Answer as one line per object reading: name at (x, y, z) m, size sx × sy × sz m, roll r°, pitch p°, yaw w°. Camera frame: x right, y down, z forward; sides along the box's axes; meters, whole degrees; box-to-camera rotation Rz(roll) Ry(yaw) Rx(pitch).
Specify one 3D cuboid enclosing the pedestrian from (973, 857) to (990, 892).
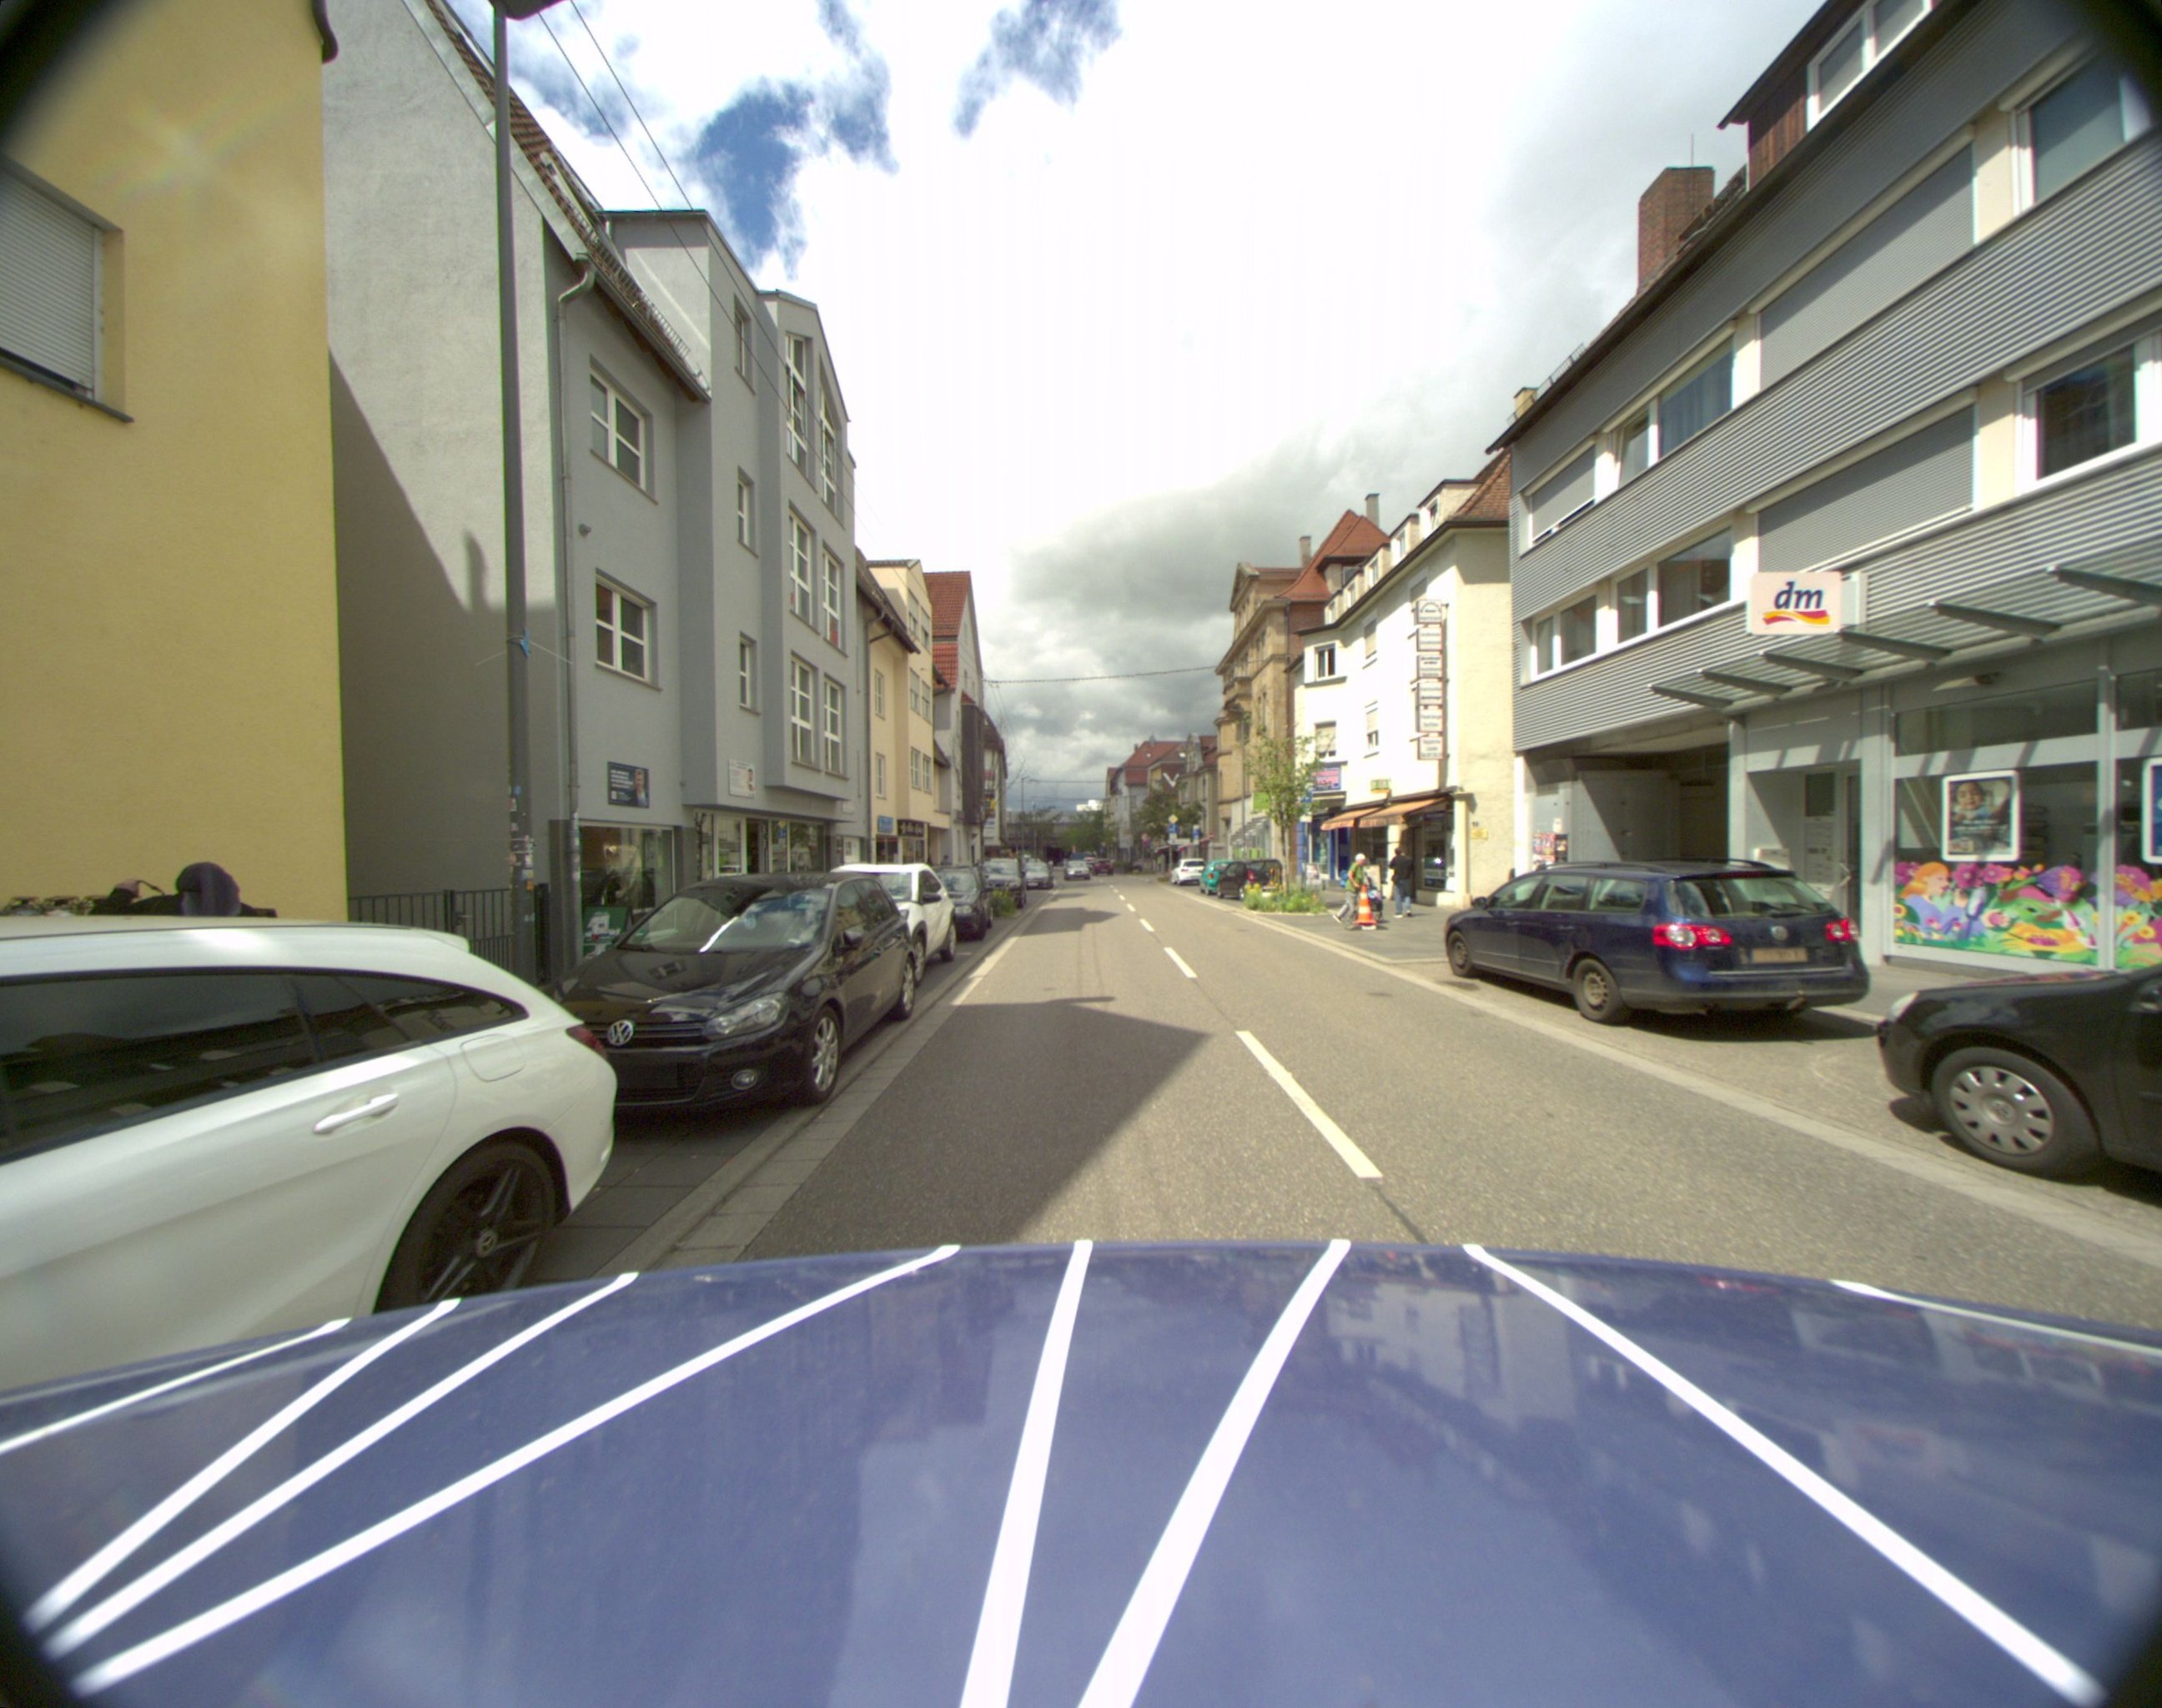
pedestrian at (-4.966, 1.016, 37.957) m, size 0.745 × 1.708 × 0.655 m, roll -1°, pitch 1°, yaw -1°

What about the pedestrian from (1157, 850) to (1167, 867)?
pedestrian at (8.409, 0.431, 78.866) m, size 0.801 × 1.746 × 0.812 m, roll -3°, pitch 1°, yaw -9°

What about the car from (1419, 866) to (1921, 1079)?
car at (5.578, 0.953, 8.201) m, size 1.794 × 1.504 × 4.713 m, roll -2°, pitch 0°, yaw 1°

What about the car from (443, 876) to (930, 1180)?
car at (-2.502, 0.966, 6.222) m, size 1.694 × 1.463 × 4.523 m, roll -3°, pitch -1°, yaw -2°

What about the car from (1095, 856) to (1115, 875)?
car at (2.134, 1.042, 68.080) m, size 1.536 × 1.521 × 3.757 m, roll -3°, pitch 1°, yaw -2°

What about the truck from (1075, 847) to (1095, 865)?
truck at (0.435, 0.225, 100.747) m, size 2.112 × 2.292 × 6.473 m, roll -3°, pitch 1°, yaw -4°

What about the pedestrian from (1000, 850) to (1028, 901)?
pedestrian at (-2.520, 0.804, 28.591) m, size 0.978 × 1.853 × 0.864 m, roll 1°, pitch 1°, yaw -1°

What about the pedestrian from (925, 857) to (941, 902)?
pedestrian at (-5.816, 0.993, 29.874) m, size 0.437 × 1.708 × 0.537 m, roll -3°, pitch 1°, yaw -2°

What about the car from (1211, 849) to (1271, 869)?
car at (13.165, 0.395, 62.696) m, size 4.391 × 1.373 × 1.997 m, roll -4°, pitch 1°, yaw -20°

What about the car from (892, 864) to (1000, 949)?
car at (-2.723, 1.009, 16.170) m, size 1.694 × 1.432 × 4.294 m, roll 1°, pitch 1°, yaw -3°

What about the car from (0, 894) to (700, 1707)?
car at (-2.796, 0.998, 1.245) m, size 1.634 × 1.467 × 4.957 m, roll -2°, pitch 1°, yaw 2°

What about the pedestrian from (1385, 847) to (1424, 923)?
pedestrian at (7.695, 0.728, 18.105) m, size 0.549 × 1.747 × 0.728 m, roll -3°, pitch 1°, yaw -2°

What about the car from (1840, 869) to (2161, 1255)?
car at (5.396, 0.894, 2.369) m, size 1.795 × 1.495 × 4.177 m, roll -3°, pitch 1°, yaw -2°

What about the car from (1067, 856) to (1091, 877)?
car at (-0.127, 0.959, 57.940) m, size 1.724 × 1.517 × 3.598 m, roll -1°, pitch 0°, yaw 1°

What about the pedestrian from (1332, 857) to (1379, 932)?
pedestrian at (6.153, 0.885, 17.066) m, size 0.733 × 1.609 × 0.651 m, roll -3°, pitch 1°, yaw -4°

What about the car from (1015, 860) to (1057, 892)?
car at (-2.378, 1.139, 40.828) m, size 1.711 × 1.412 × 4.318 m, roll -2°, pitch 1°, yaw 3°

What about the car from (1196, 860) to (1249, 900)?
car at (5.846, 1.039, 31.678) m, size 1.589 × 1.406 × 3.668 m, roll -2°, pitch 1°, yaw 2°

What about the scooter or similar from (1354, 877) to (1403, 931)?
scooter or similar at (6.657, 1.110, 17.024) m, size 0.784 × 1.119 × 0.630 m, roll -3°, pitch 1°, yaw -4°

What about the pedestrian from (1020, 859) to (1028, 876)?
pedestrian at (-5.253, 1.238, 70.081) m, size 0.661 × 1.553 × 0.477 m, roll -3°, pitch 1°, yaw -3°

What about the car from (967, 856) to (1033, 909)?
car at (-2.638, 0.889, 25.572) m, size 1.804 × 1.594 × 4.203 m, roll 1°, pitch 0°, yaw -1°

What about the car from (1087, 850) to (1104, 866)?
car at (1.624, 0.455, 86.607) m, size 1.792 × 1.630 × 4.115 m, roll -3°, pitch 1°, yaw -1°

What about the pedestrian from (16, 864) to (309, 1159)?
pedestrian at (-5.236, 0.844, 4.392) m, size 0.751 × 1.544 × 0.726 m, roll -1°, pitch 1°, yaw 0°

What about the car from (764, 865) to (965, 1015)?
car at (-2.798, 1.033, 10.706) m, size 1.693 × 1.565 × 3.755 m, roll -2°, pitch 1°, yaw 0°

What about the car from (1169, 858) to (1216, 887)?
car at (6.178, 1.011, 42.556) m, size 1.850 × 1.390 × 4.035 m, roll -3°, pitch 1°, yaw -2°

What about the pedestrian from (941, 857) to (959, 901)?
pedestrian at (-5.156, 0.979, 29.872) m, size 0.537 × 1.708 × 0.606 m, roll -3°, pitch 1°, yaw -1°

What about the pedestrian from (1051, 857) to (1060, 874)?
pedestrian at (-2.343, 1.071, 70.464) m, size 0.584 × 1.590 × 0.549 m, roll -2°, pitch 1°, yaw 17°

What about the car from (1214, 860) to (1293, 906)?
car at (6.043, 0.990, 27.041) m, size 1.602 × 1.437 × 3.555 m, roll -3°, pitch 0°, yaw -6°

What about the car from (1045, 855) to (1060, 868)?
car at (-3.578, 0.981, 96.557) m, size 1.804 × 1.594 × 4.203 m, roll 1°, pitch 0°, yaw -1°
